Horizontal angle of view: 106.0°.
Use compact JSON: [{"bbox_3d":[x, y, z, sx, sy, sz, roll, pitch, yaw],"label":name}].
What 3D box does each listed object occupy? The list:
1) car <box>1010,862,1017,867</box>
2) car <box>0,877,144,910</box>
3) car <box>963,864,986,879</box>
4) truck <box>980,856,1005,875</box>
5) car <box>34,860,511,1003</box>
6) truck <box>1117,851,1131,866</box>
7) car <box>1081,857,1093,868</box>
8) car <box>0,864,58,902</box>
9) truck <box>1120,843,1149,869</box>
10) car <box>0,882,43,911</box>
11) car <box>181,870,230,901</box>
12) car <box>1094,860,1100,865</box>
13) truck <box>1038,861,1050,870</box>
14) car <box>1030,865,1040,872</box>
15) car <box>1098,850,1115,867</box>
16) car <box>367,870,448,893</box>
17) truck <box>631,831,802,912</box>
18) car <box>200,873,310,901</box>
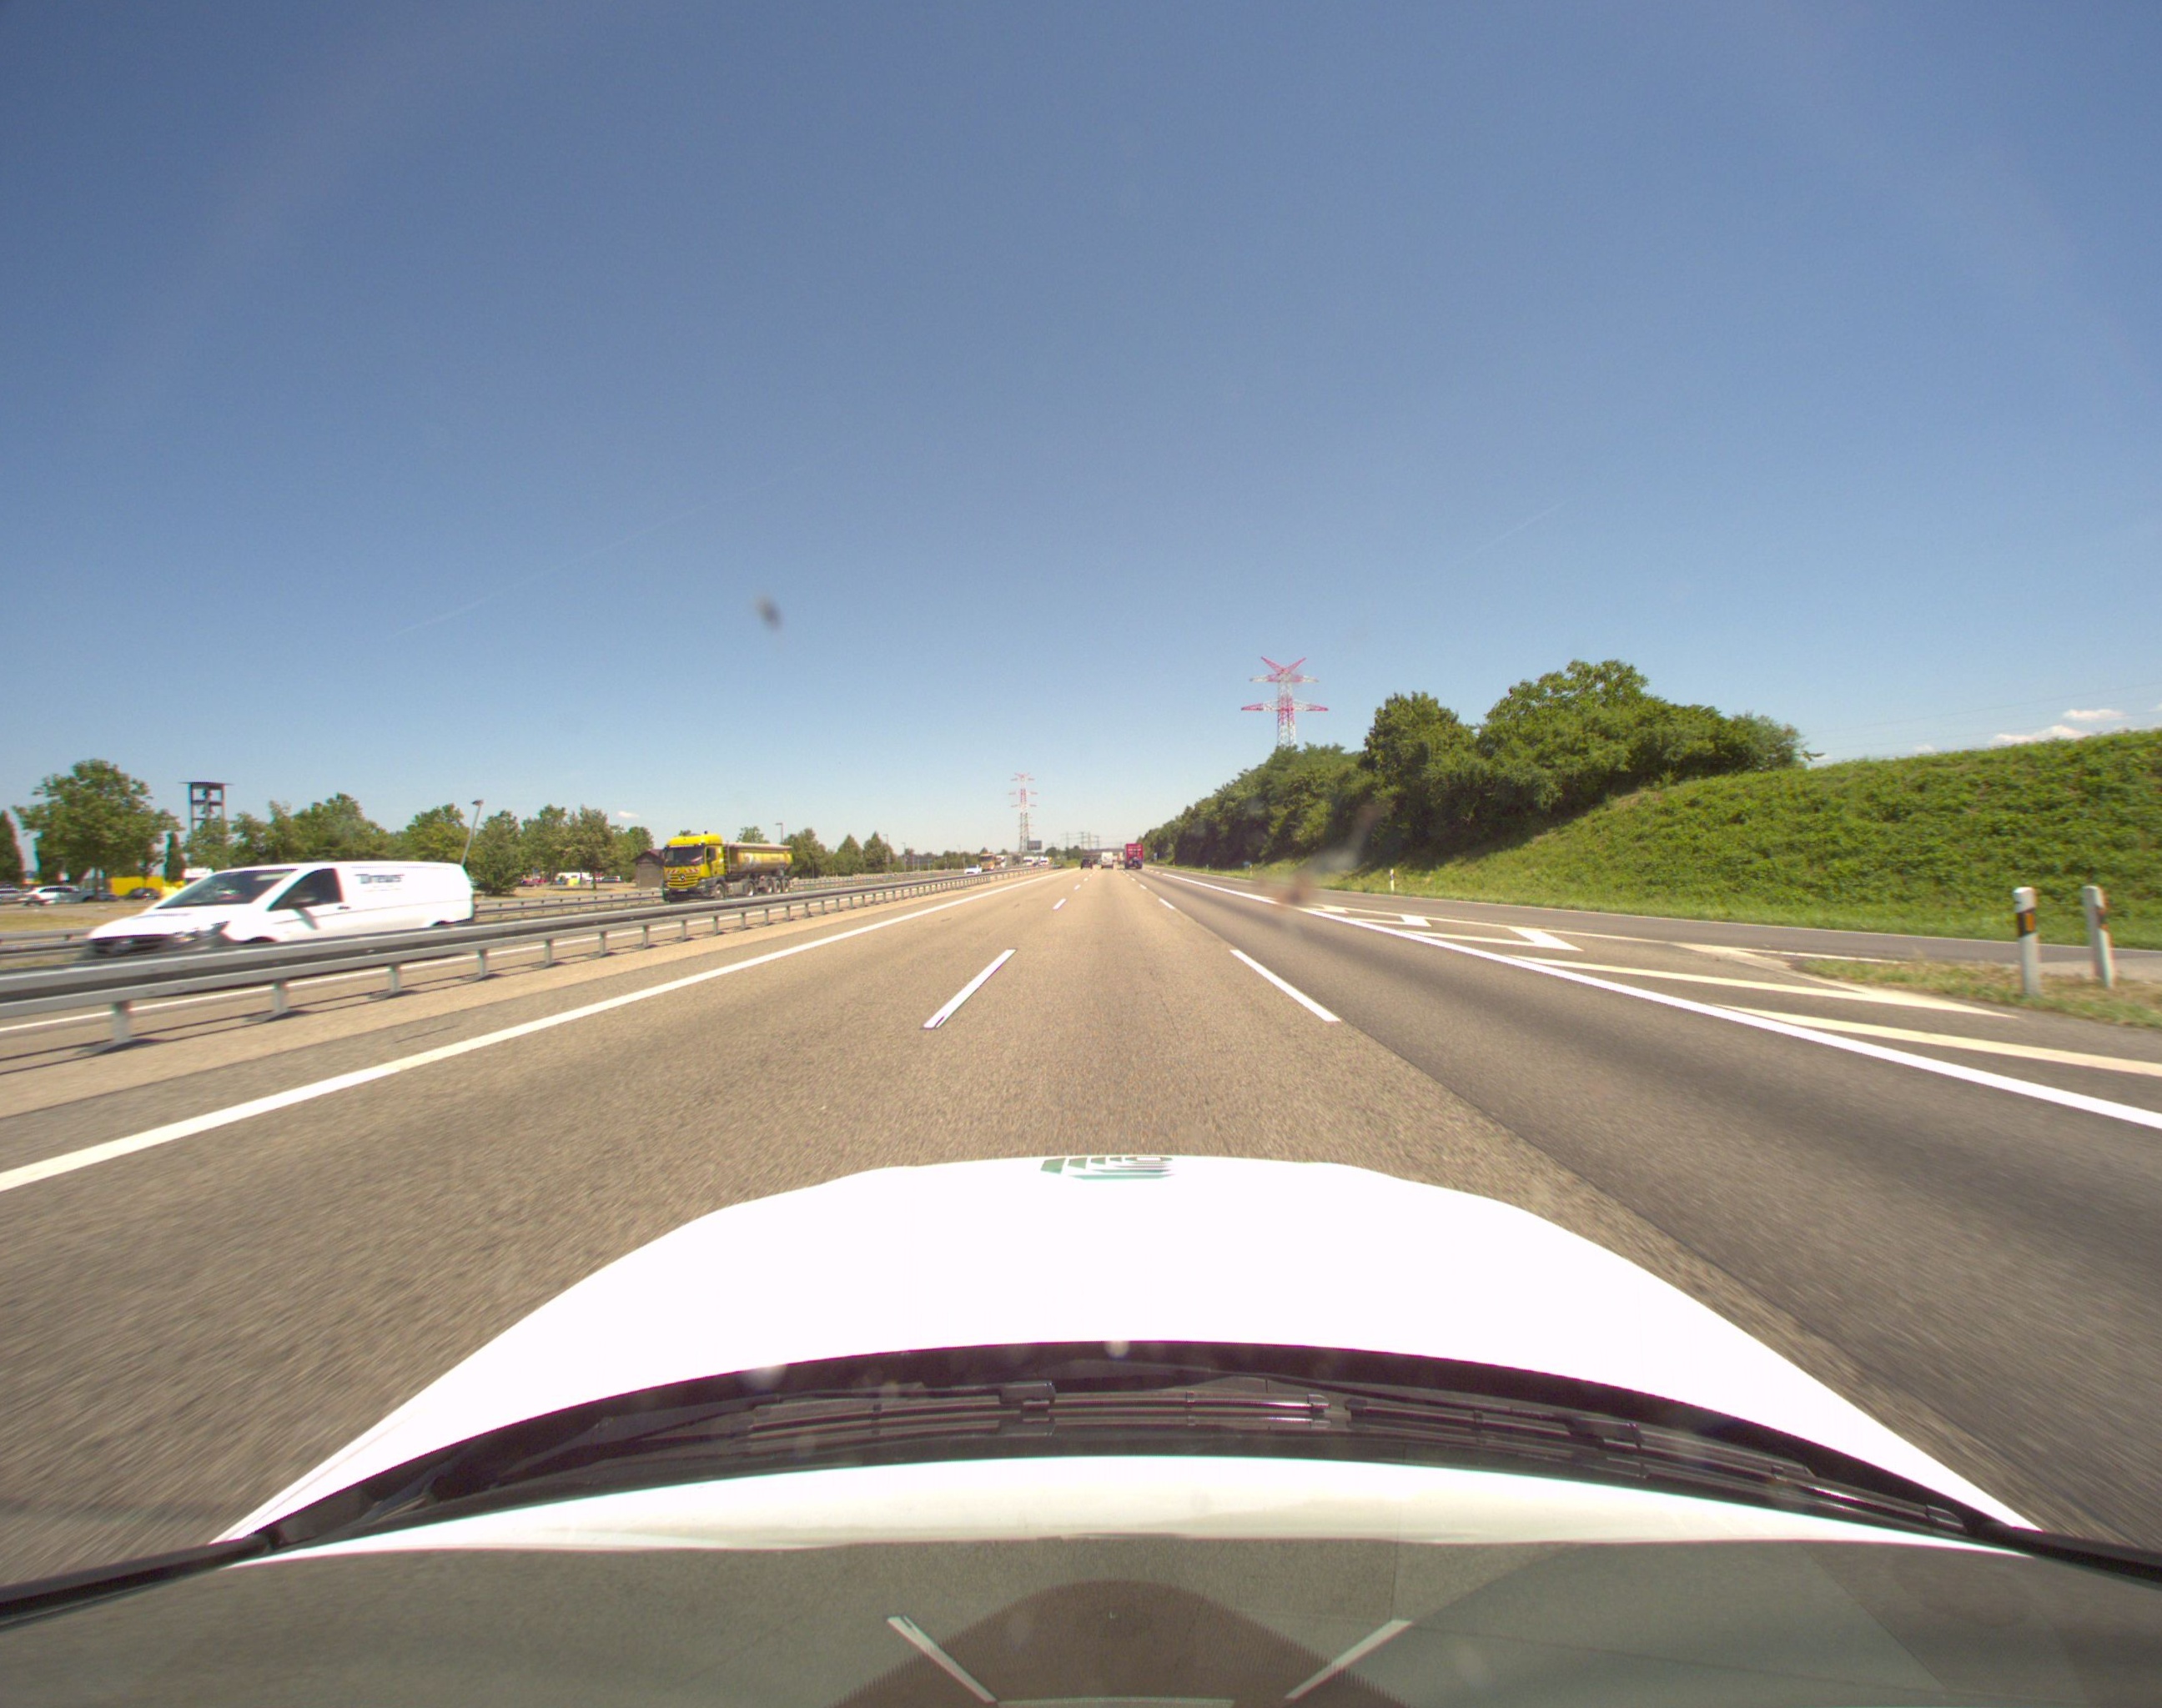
[{"bbox_3d":[-19.733,3.181,238.543,1.809,1.390,3.904,-2,-1,1],"label":"car"},{"bbox_3d":[-71.534,2.730,57.735,6.232,2.124,2.451,0,0,-36],"label":"car"},{"bbox_3d":[-13.847,2.276,106.166,2.045,1.842,5.473,-2,-1,1],"label":"car"},{"bbox_3d":[-16.112,2.048,148.447,2.707,3.259,12.393,-1,-1,2],"label":"truck"},{"bbox_3d":[-12.845,1.053,13.812,2.045,1.842,5.944,-2,-1,1],"label":"car"},{"bbox_3d":[13.422,1.483,256.560,4.315,4.524,16.084,0,0,2],"label":"truck"},{"bbox_3d":[1.035,1.355,134.536,1.986,1.750,4.001,0,0,1],"label":"car"},{"bbox_3d":[-108.050,2.886,81.719,2.734,3.701,6.325,0,0,1],"label":"car"},{"bbox_3d":[8.651,0.338,133.794,4.315,3.941,16.084,0,0,2],"label":"truck"},{"bbox_3d":[-94.023,3.655,70.298,6.265,2.355,2.760,0,0,10],"label":"car"},{"bbox_3d":[-93.541,3.304,87.071,2.767,3.178,6.250,0,0,-40],"label":"car"},{"bbox_3d":[4.640,2.448,239.093,1.741,1.634,4.005,0,0,1],"label":"car"},{"bbox_3d":[-10.106,3.223,224.613,2.707,2.421,8.110,-1,-1,2],"label":"truck"},{"bbox_3d":[-10.230,3.175,181.355,1.809,1.390,3.904,-2,-1,1],"label":"car"},{"bbox_3d":[4.218,0.803,135.162,2.611,2.759,6.098,0,0,1],"label":"car"},{"bbox_3d":[-69.938,2.823,84.733,6.232,2.124,2.451,0,0,-36],"label":"car"},{"bbox_3d":[-19.960,0.908,46.182,3.159,3.810,13.535,-2,0,2],"label":"truck"},{"bbox_3d":[-70.556,2.771,69.752,6.232,2.124,2.451,0,0,-36],"label":"car"}]
